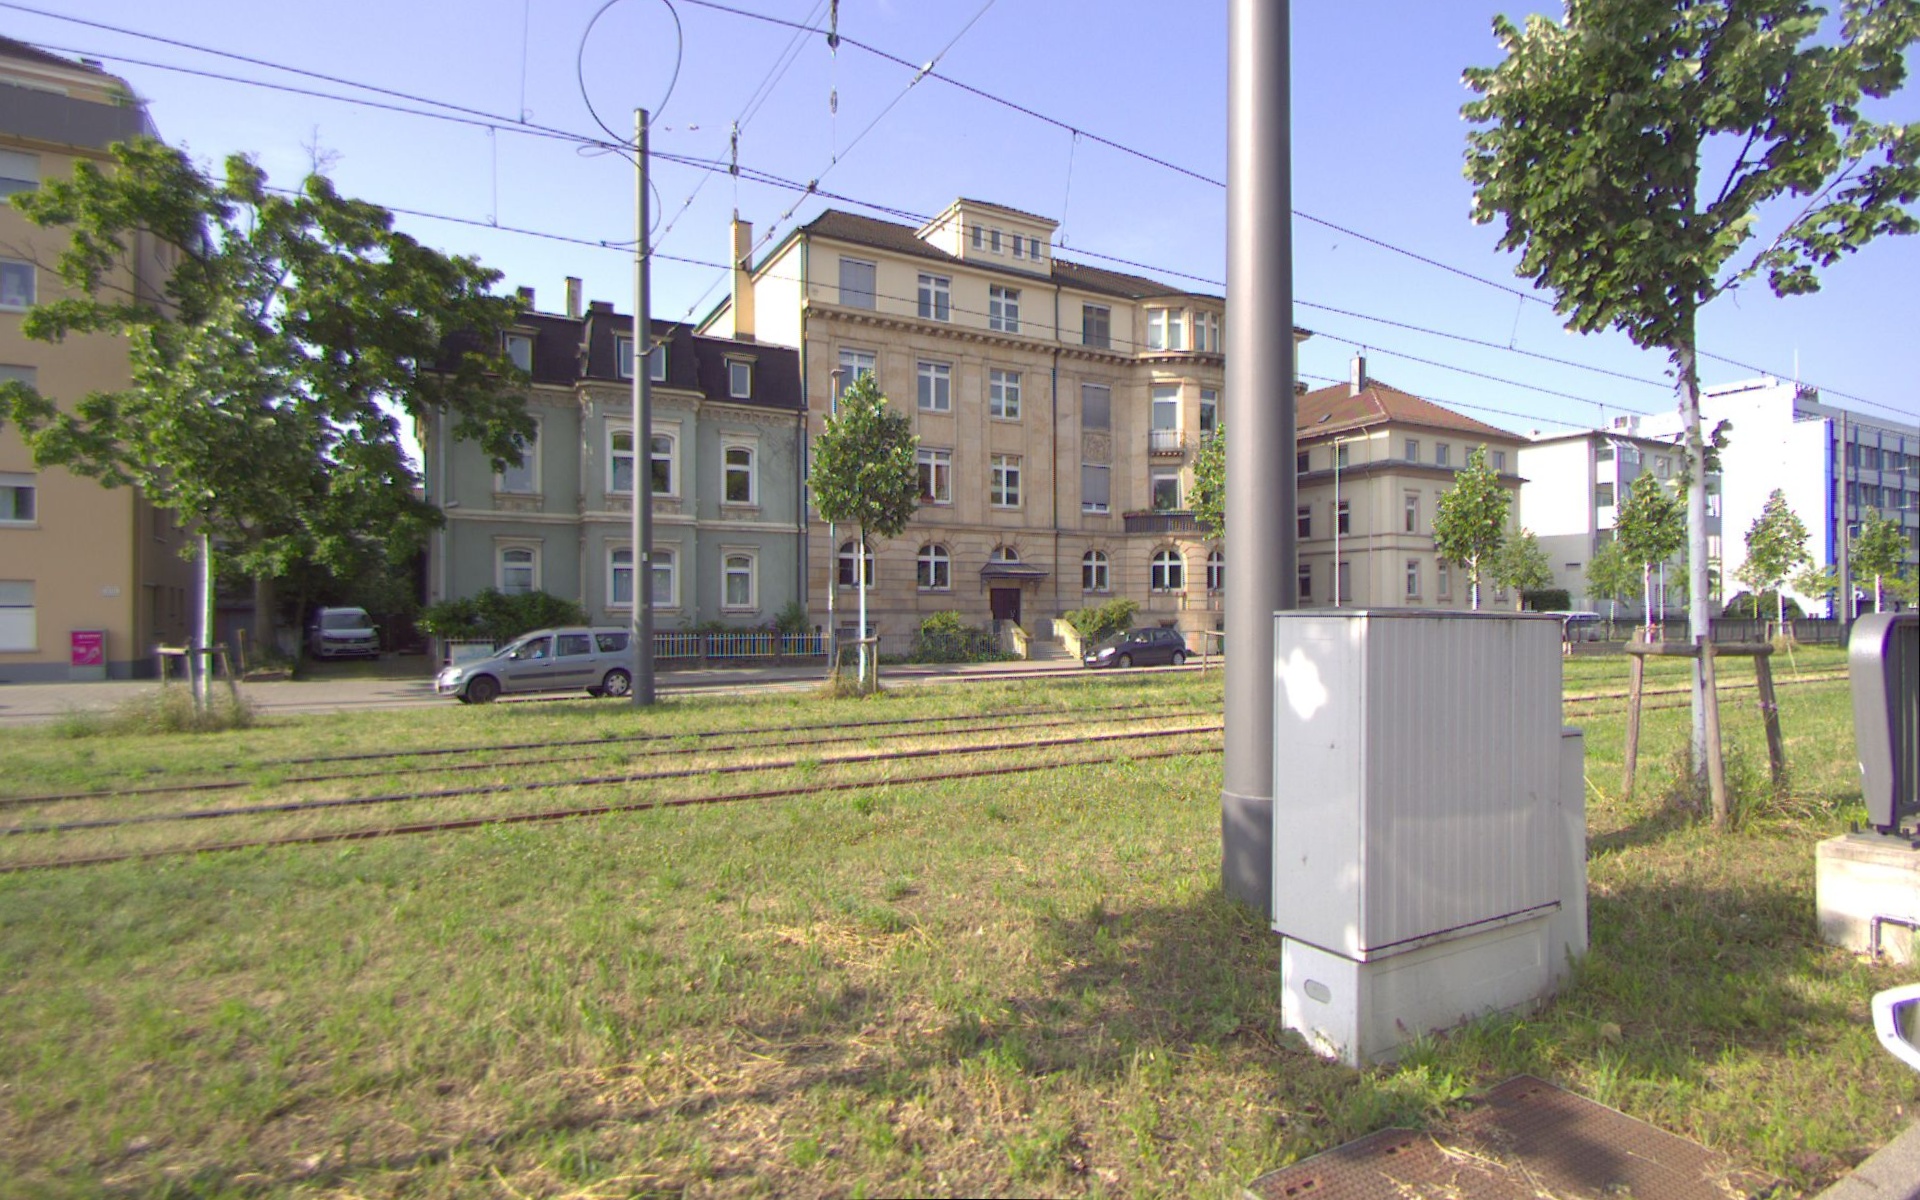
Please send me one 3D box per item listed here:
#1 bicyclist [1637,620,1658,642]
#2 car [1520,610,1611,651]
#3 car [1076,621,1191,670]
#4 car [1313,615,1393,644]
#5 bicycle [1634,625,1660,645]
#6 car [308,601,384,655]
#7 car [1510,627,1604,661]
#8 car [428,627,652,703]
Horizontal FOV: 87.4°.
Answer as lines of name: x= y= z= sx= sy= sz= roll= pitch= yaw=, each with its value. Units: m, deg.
bicyclist: x=39.213 y=1.757 z=57.315 sx=1.237 sy=1.194 sz=0.529 roll=1 pitch=1 yaw=-32
car: x=34.270 y=1.738 z=56.804 sx=5.205 sy=2.040 sz=2.237 roll=3 pitch=0 yaw=-32
car: x=5.881 y=1.498 z=33.943 sx=3.781 sy=1.483 sz=1.510 roll=-1 pitch=-1 yaw=-32
car: x=22.040 y=1.617 z=56.423 sx=1.637 sy=1.572 sz=3.964 roll=1 pitch=-1 yaw=-33
bicycle: x=39.237 y=1.977 z=57.343 sx=1.855 sy=1.107 sz=0.529 roll=1 pitch=1 yaw=-32
car: x=-21.451 y=0.982 z=35.225 sx=2.140 sy=1.772 sz=4.606 roll=1 pitch=-2 yaw=-31
car: x=28.541 y=2.105 z=47.995 sx=4.386 sy=1.486 sz=1.984 roll=3 pitch=-2 yaw=-30
car: x=-9.644 y=1.419 z=23.202 sx=4.484 sy=1.597 sz=1.980 roll=1 pitch=-2 yaw=-36
